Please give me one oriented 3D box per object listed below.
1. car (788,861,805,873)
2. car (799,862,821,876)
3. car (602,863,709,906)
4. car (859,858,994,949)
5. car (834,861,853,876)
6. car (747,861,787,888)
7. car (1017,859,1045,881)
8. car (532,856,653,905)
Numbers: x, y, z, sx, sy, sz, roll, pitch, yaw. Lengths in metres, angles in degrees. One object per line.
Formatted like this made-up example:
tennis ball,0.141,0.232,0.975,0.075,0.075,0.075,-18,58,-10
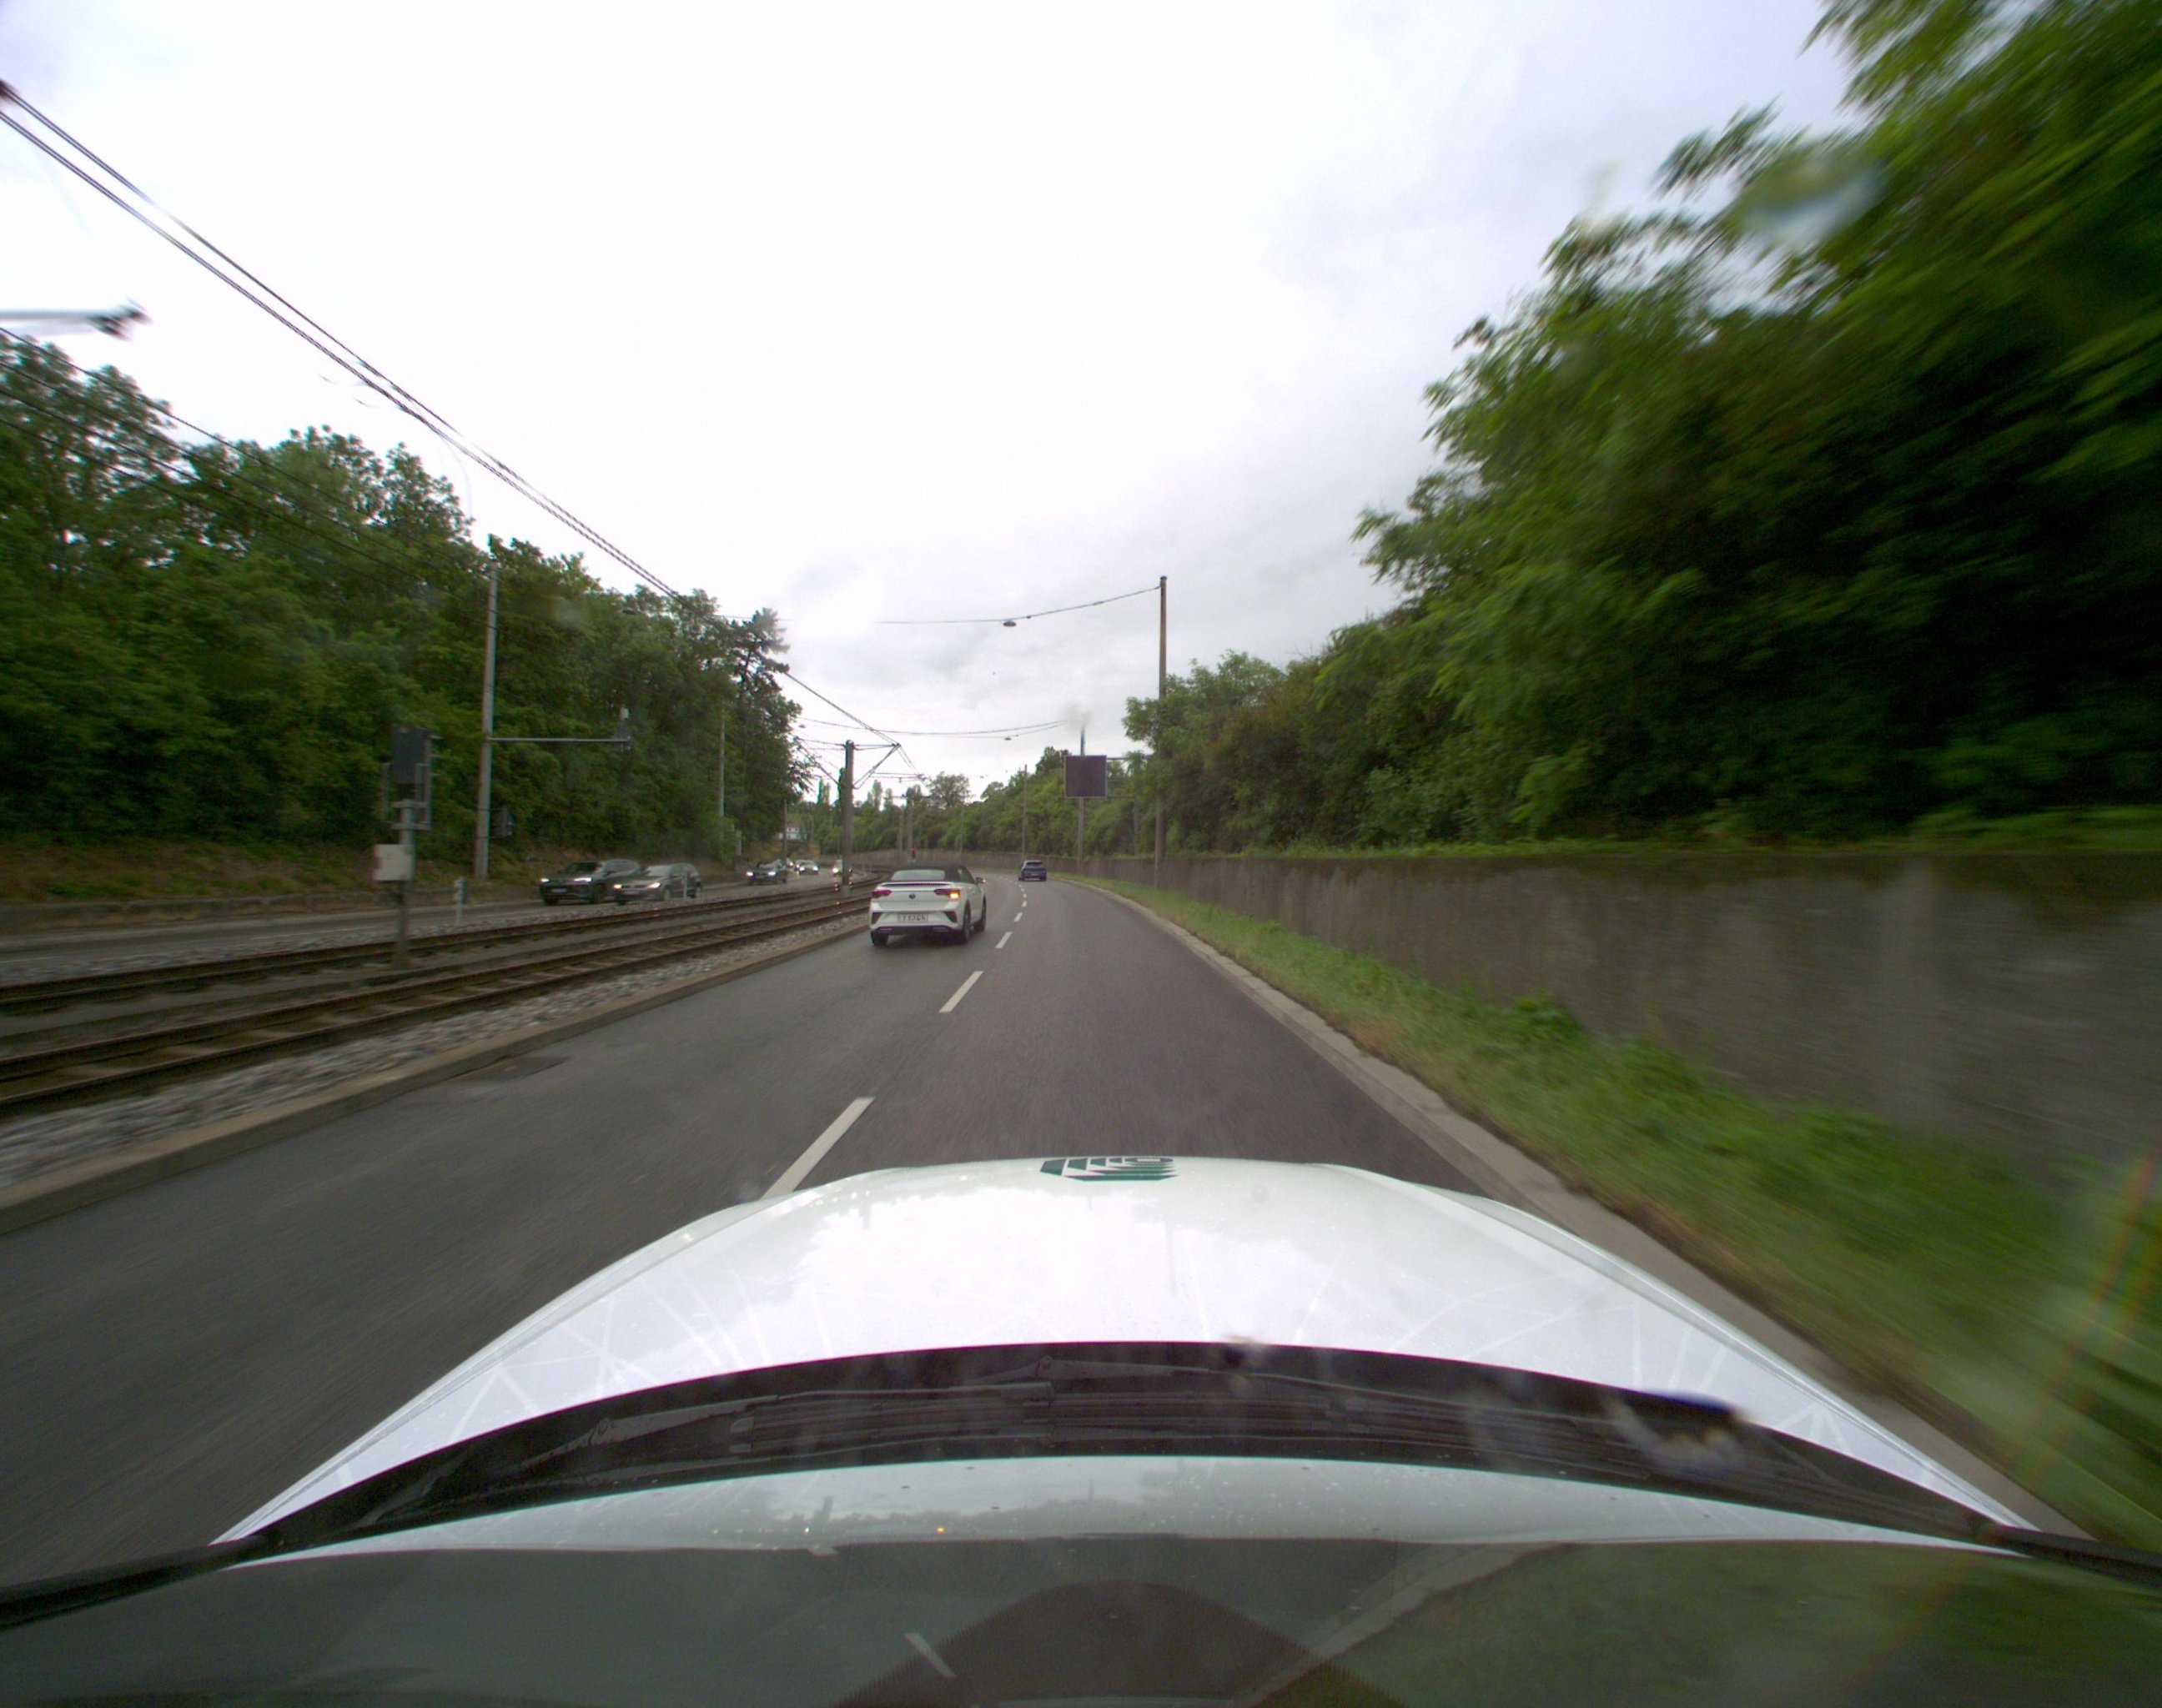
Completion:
car,-36.946,1.641,105.595,1.752,1.516,4.540,-2,0,-24
car,-28.474,1.558,85.591,1.824,1.462,4.624,-2,0,-23
car,-15.079,1.024,29.120,1.700,1.415,4.031,0,-1,0
car,-2.957,0.882,16.600,1.865,1.524,4.539,-1,0,0
car,-21.915,1.335,75.047,1.547,1.258,3.936,-2,0,-17
car,-20.574,1.316,53.504,1.708,1.607,4.393,-2,0,-12
car,-3.584,1.123,57.924,1.762,1.501,3.989,0,0,-8
car,-18.176,0.935,30.598,1.779,1.669,4.737,-1,0,-2
